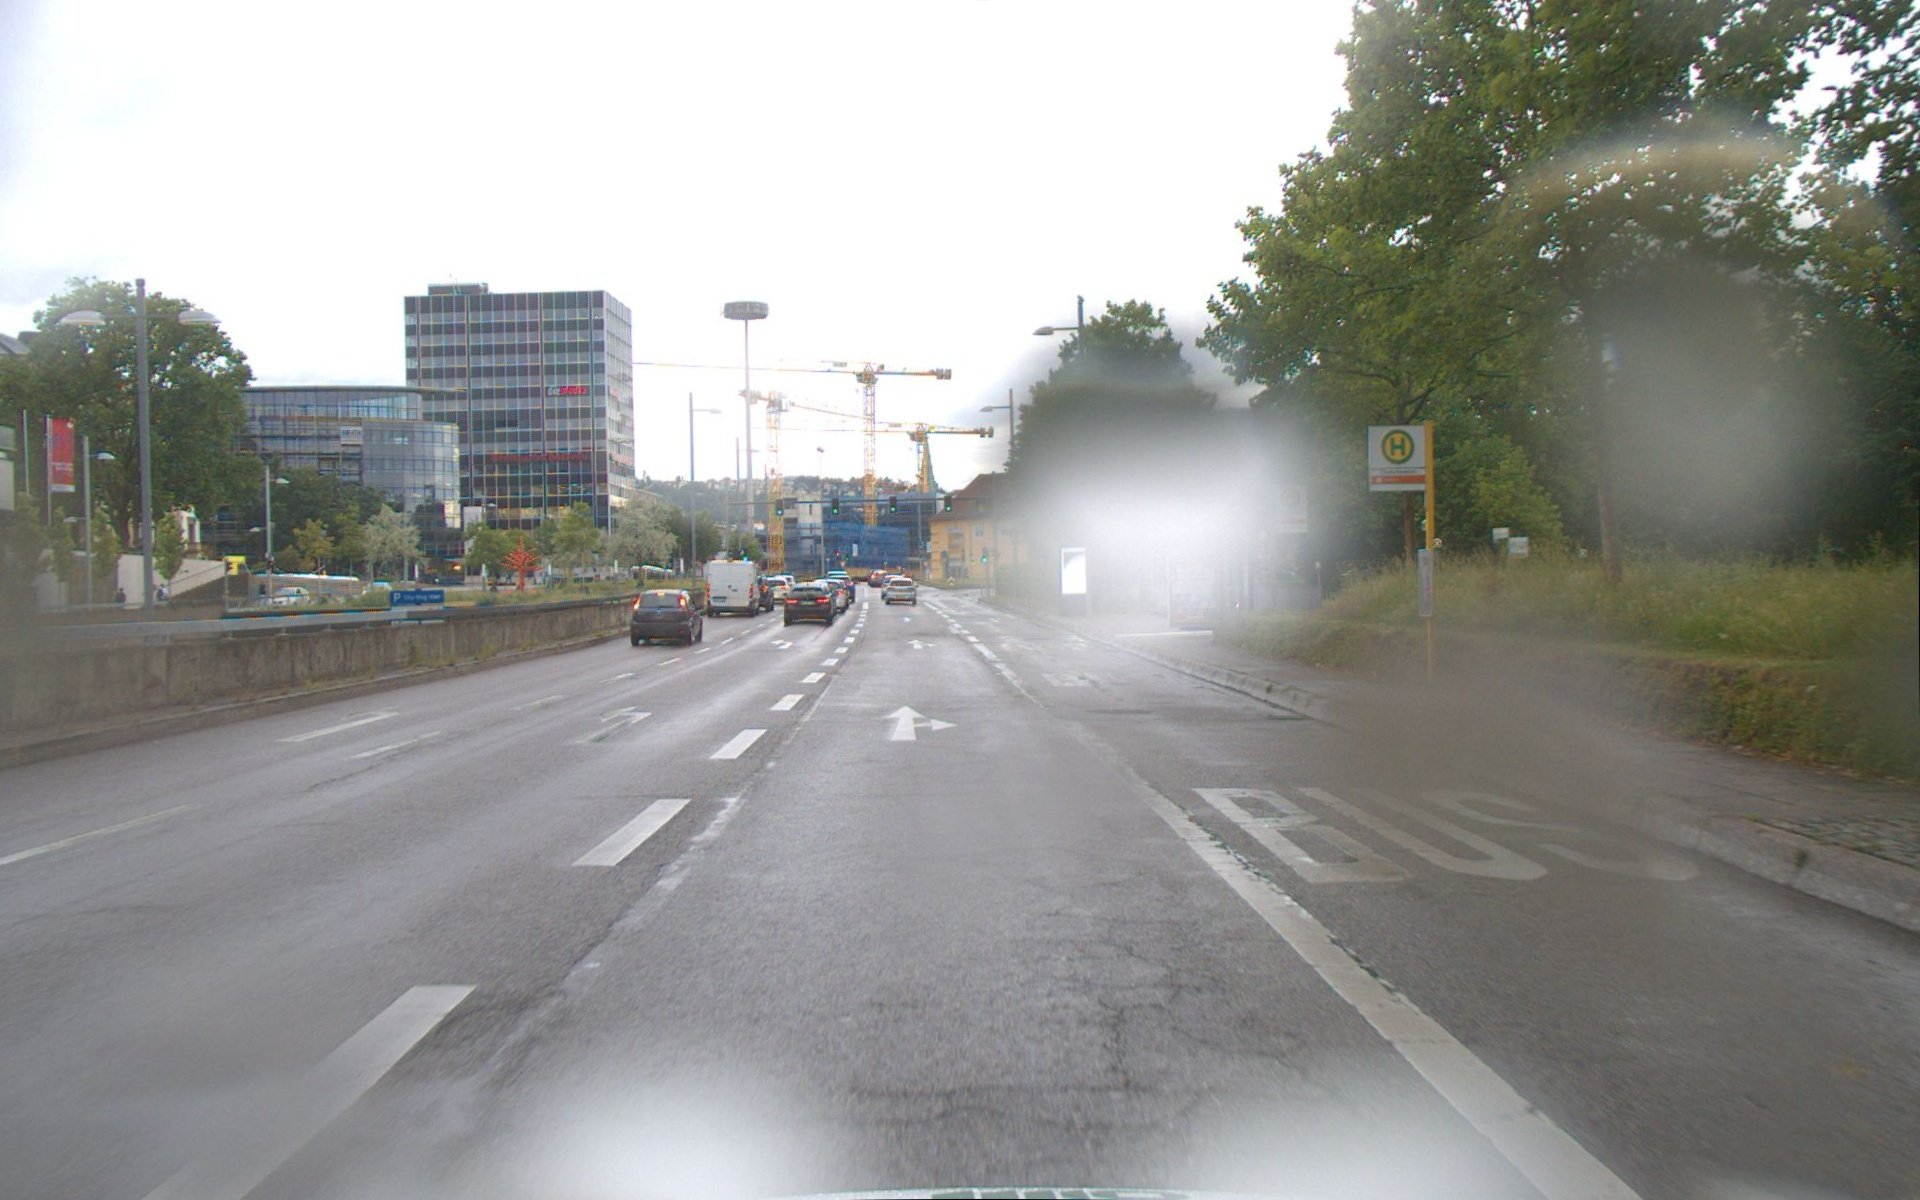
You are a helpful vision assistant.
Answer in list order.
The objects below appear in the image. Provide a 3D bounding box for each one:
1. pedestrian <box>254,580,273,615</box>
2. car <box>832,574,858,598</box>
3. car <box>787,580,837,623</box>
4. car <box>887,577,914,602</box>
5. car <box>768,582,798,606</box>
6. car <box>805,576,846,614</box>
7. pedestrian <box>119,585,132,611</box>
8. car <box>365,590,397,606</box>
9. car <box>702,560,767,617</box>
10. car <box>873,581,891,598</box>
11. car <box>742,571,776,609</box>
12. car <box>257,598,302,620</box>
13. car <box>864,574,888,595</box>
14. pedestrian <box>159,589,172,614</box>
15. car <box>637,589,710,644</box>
[{"bbox_3d":[-44.363,-0.169,105.347,0.750,2.127,0.727,1,5,12],"label":"pedestrian"},{"bbox_3d":[-6.713,-0.805,96.387,1.463,1.393,3.031,0,0,-3],"label":"car"},{"bbox_3d":[-5.482,0.032,61.601,1.719,1.497,4.220,0,1,-4],"label":"car"},{"bbox_3d":[-3.278,-0.583,91.678,1.414,1.383,2.412,0,0,0],"label":"car"},{"bbox_3d":[-9.871,-0.323,92.409,1.520,1.282,2.579,0,0,-3],"label":"car"},{"bbox_3d":[-6.208,-0.203,76.047,1.844,1.681,3.454,0,0,-5],"label":"car"},{"bbox_3d":[-45.344,-0.096,89.879,0.458,1.407,0.576,0,-1,-9],"label":"pedestrian"},{"bbox_3d":[-42.289,-0.165,120.767,1.411,1.134,3.018,0,0,-4],"label":"car"},{"bbox_3d":[-9.567,-0.471,70.586,2.246,2.354,5.003,0,0,-2],"label":"car"},{"bbox_3d":[-4.888,-0.646,103.815,1.054,1.007,1.971,0,-1,0],"label":"car"},{"bbox_3d":[-9.344,-0.452,77.125,1.435,1.736,3.138,0,0,-5],"label":"car"},{"bbox_3d":[-41.000,0.536,99.701,1.379,1.277,3.166,0,0,0],"label":"car"},{"bbox_3d":[-7.852,-1.429,154.873,2.117,1.912,3.770,0,0,0],"label":"car"},{"bbox_3d":[-47.421,0.095,98.732,0.482,1.448,0.632,0,-1,-3],"label":"pedestrian"},{"bbox_3d":[-7.795,0.449,45.216,1.511,1.440,3.899,0,0,-3],"label":"car"}]
